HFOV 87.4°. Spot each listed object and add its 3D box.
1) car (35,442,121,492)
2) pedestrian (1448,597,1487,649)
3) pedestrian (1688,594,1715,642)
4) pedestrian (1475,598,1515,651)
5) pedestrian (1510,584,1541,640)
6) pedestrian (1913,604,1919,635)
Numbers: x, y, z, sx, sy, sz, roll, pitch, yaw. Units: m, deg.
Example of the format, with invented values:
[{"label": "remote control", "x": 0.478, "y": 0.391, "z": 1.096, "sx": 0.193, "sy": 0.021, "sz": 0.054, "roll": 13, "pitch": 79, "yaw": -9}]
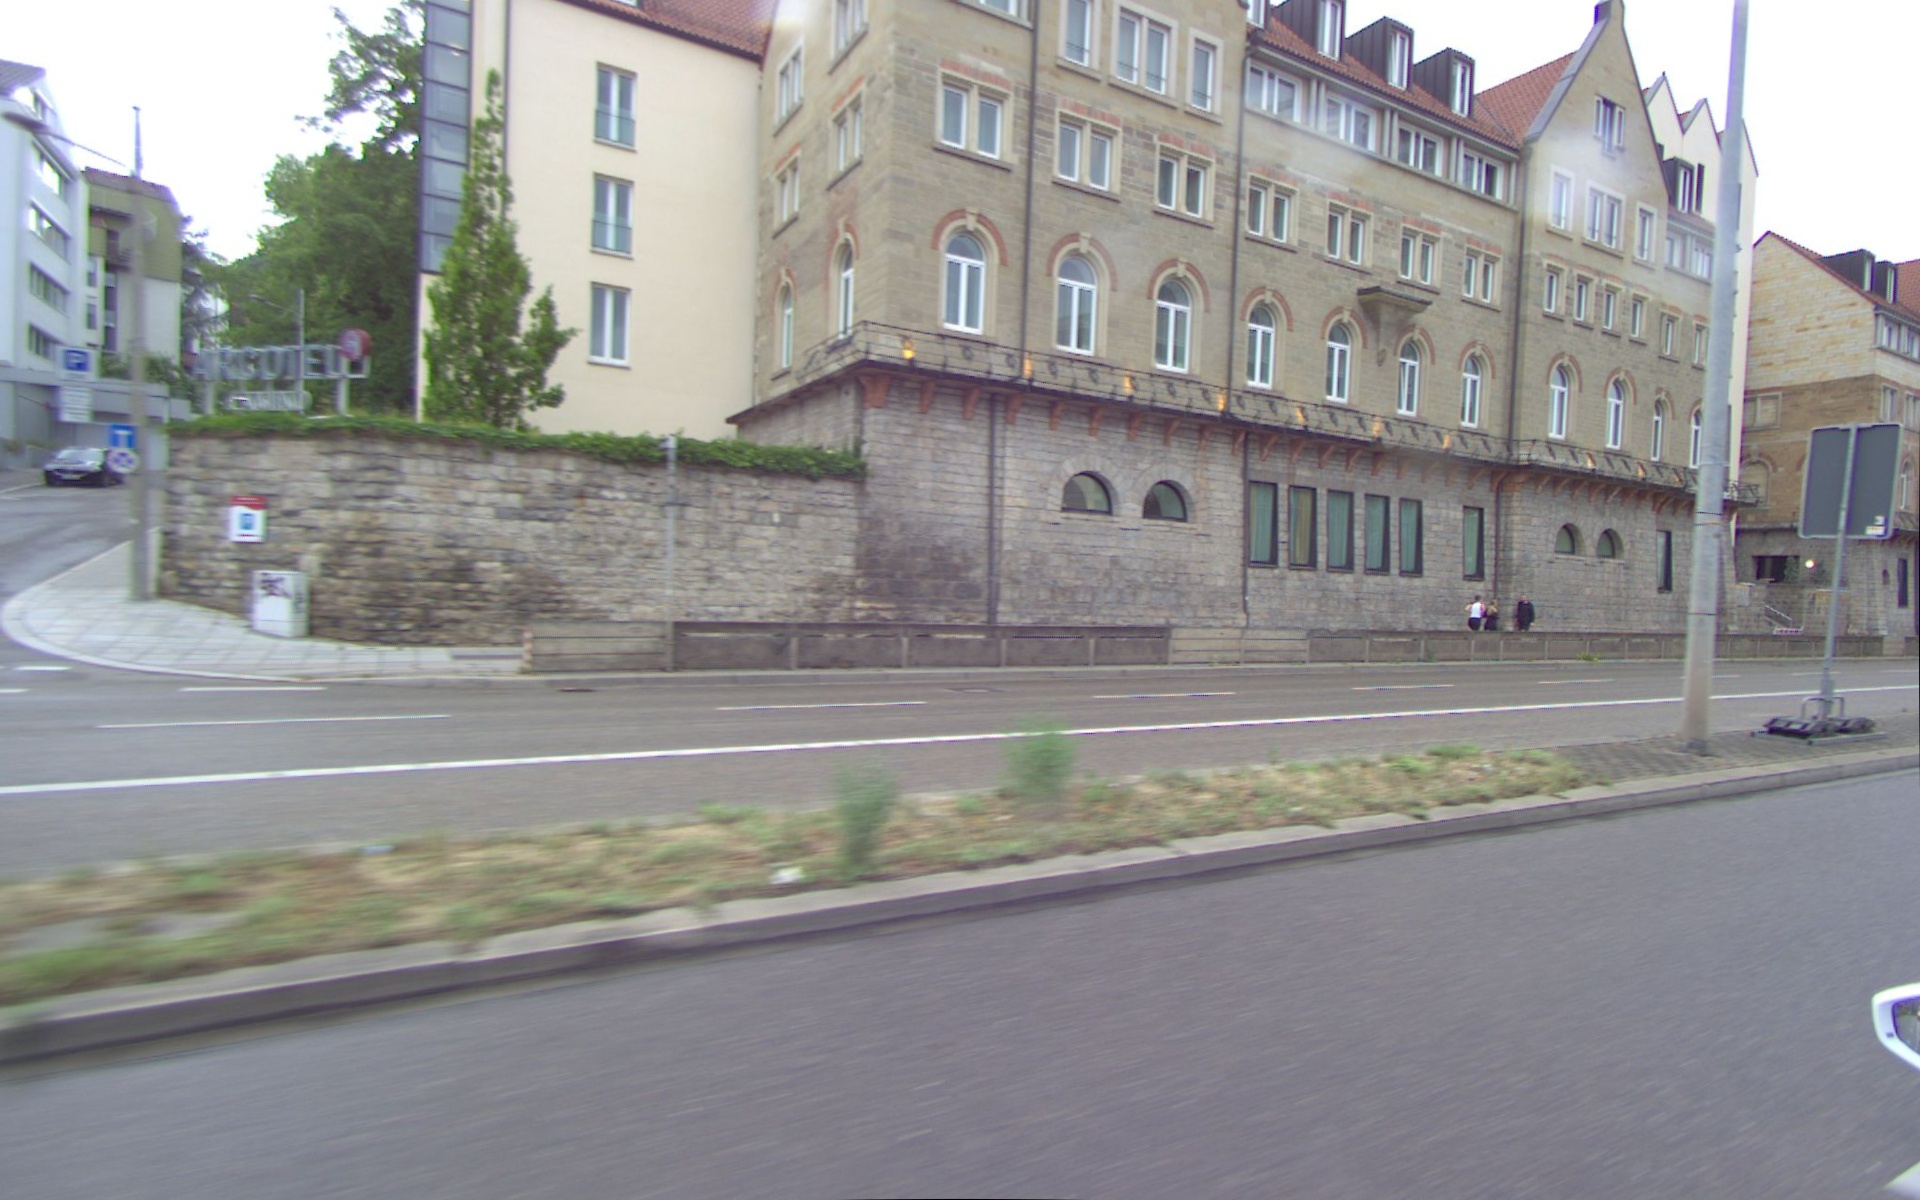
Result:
[{"label": "car", "x": -34.424, "y": -5.226, "z": 39.304, "sx": 1.792, "sy": 1.707, "sz": 3.780, "roll": 0, "pitch": 8, "yaw": -31}, {"label": "pedestrian", "x": 14.983, "y": 0.673, "z": 29.668, "sx": 0.705, "sy": 1.498, "sz": 0.750, "roll": 0, "pitch": 1, "yaw": -30}, {"label": "pedestrian", "x": 28.110, "y": 0.677, "z": 38.083, "sx": 0.614, "sy": 1.769, "sz": 0.636, "roll": -1, "pitch": 1, "yaw": -34}, {"label": "pedestrian", "x": 15.453, "y": 0.688, "z": 29.015, "sx": 0.705, "sy": 1.498, "sz": 0.750, "roll": 0, "pitch": 1, "yaw": -30}, {"label": "pedestrian", "x": 18.174, "y": 0.383, "z": 32.291, "sx": 0.614, "sy": 1.769, "sz": 0.637, "roll": 0, "pitch": 1, "yaw": -32}, {"label": "pedestrian", "x": 47.046, "y": 0.959, "z": 48.899, "sx": 0.705, "sy": 1.498, "sz": 0.750, "roll": 0, "pitch": 1, "yaw": -30}]
